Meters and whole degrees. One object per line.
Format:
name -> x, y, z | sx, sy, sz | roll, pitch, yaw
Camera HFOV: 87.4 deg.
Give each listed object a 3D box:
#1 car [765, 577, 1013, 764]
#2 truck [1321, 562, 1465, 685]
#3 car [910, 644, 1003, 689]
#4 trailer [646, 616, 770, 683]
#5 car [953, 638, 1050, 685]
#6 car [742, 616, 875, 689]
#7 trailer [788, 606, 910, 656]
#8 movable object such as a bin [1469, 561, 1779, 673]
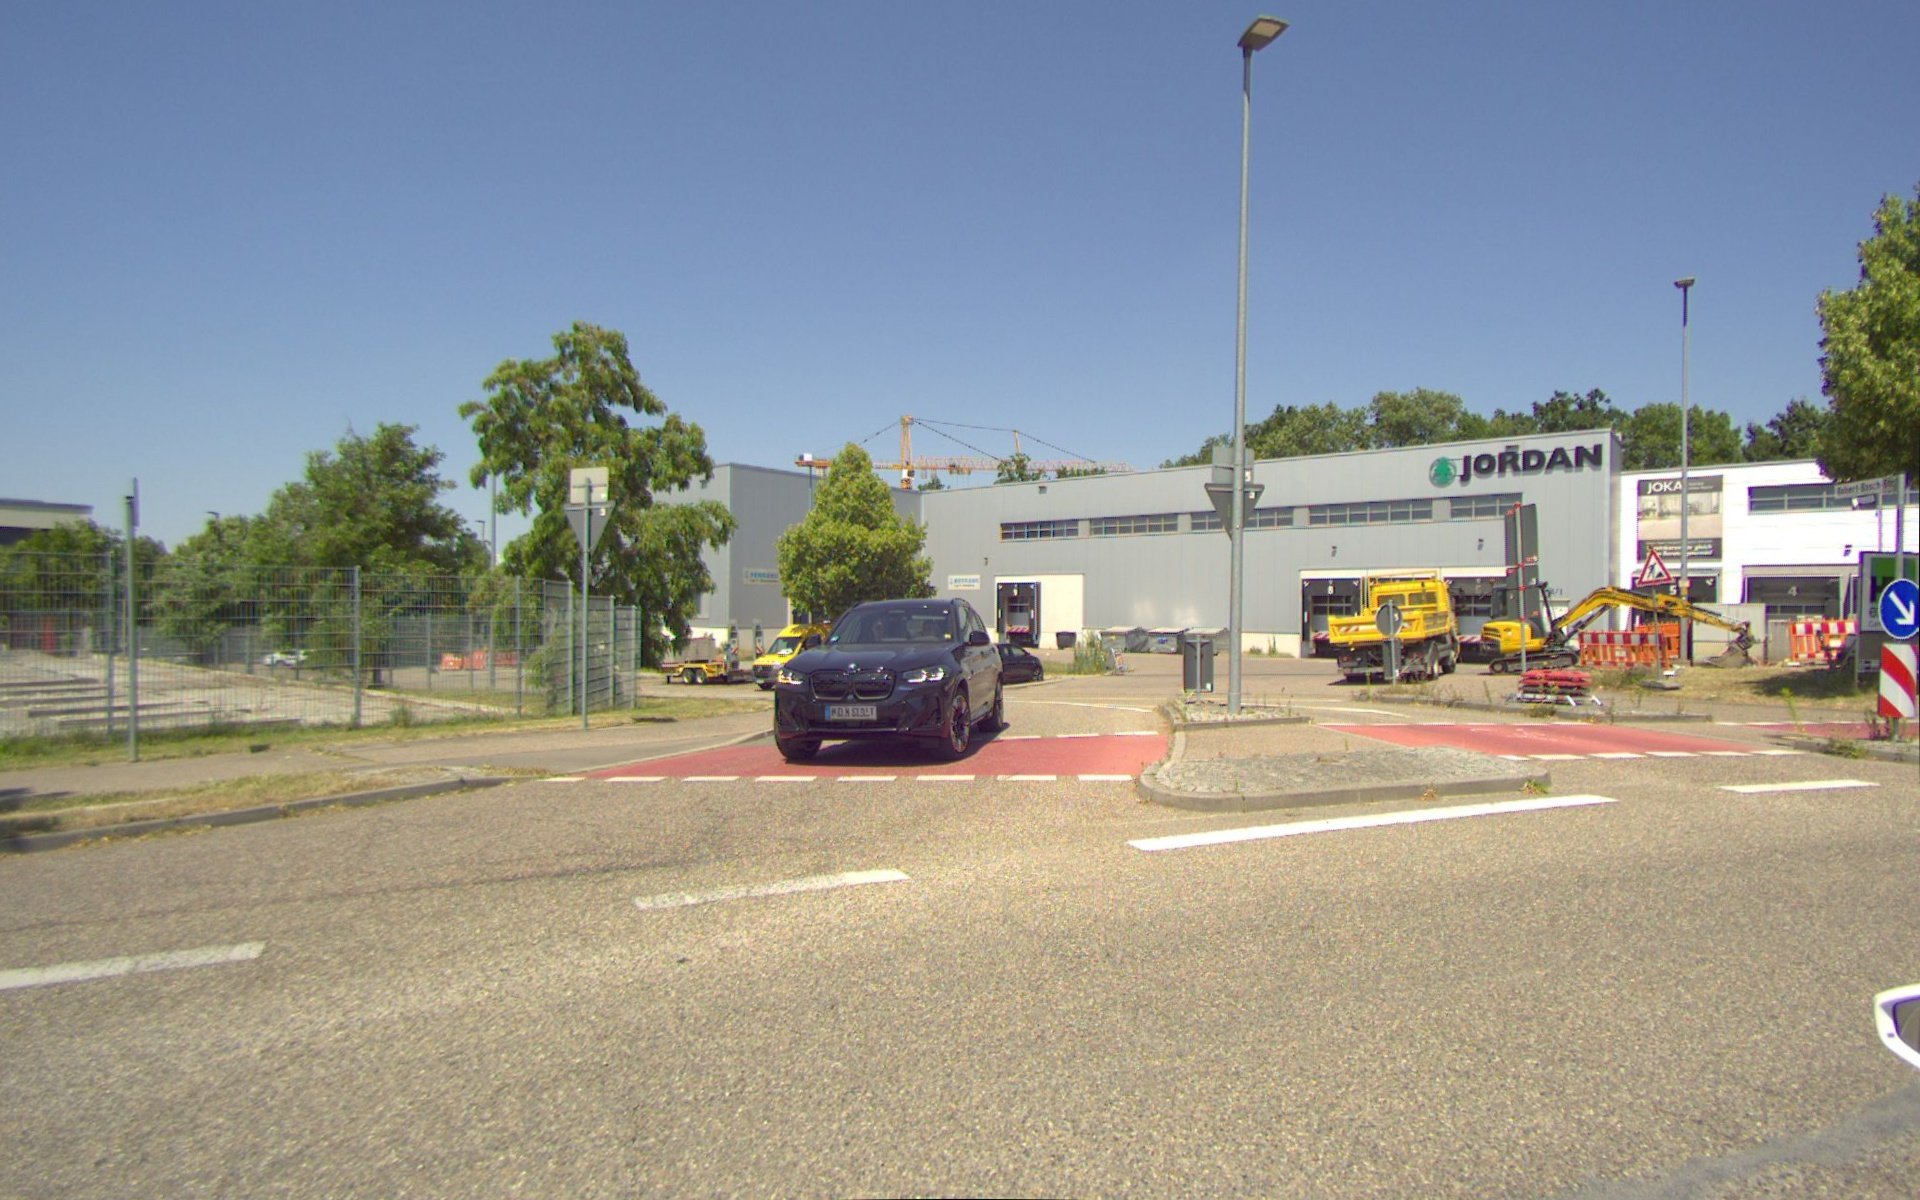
car -> -0.552, 0.773, 11.523 | 1.832, 1.655, 4.603 | -2, -3, 8
truck -> 12.811, 0.626, 29.421 | 2.553, 3.177, 6.403 | -3, -1, 34
car -> -0.094, 2.454, 37.759 | 1.565, 1.527, 3.769 | -2, -2, 36
trailer -> -11.714, 2.271, 46.537 | 5.430, 2.895, 2.656 | -2, -1, 35
car -> 1.534, 2.176, 36.159 | 1.602, 1.482, 3.656 | -3, -1, 39
car -> -6.197, 2.097, 41.854 | 1.968, 2.769, 5.776 | -1, -1, 37
trailer -> -6.473, 1.764, 57.650 | 7.304, 2.453, 2.655 | 2, -1, 41
movable object such as a bin -> 17.222, 0.578, 26.412 | 6.489, 2.614, 1.988 | -4, -4, 44
